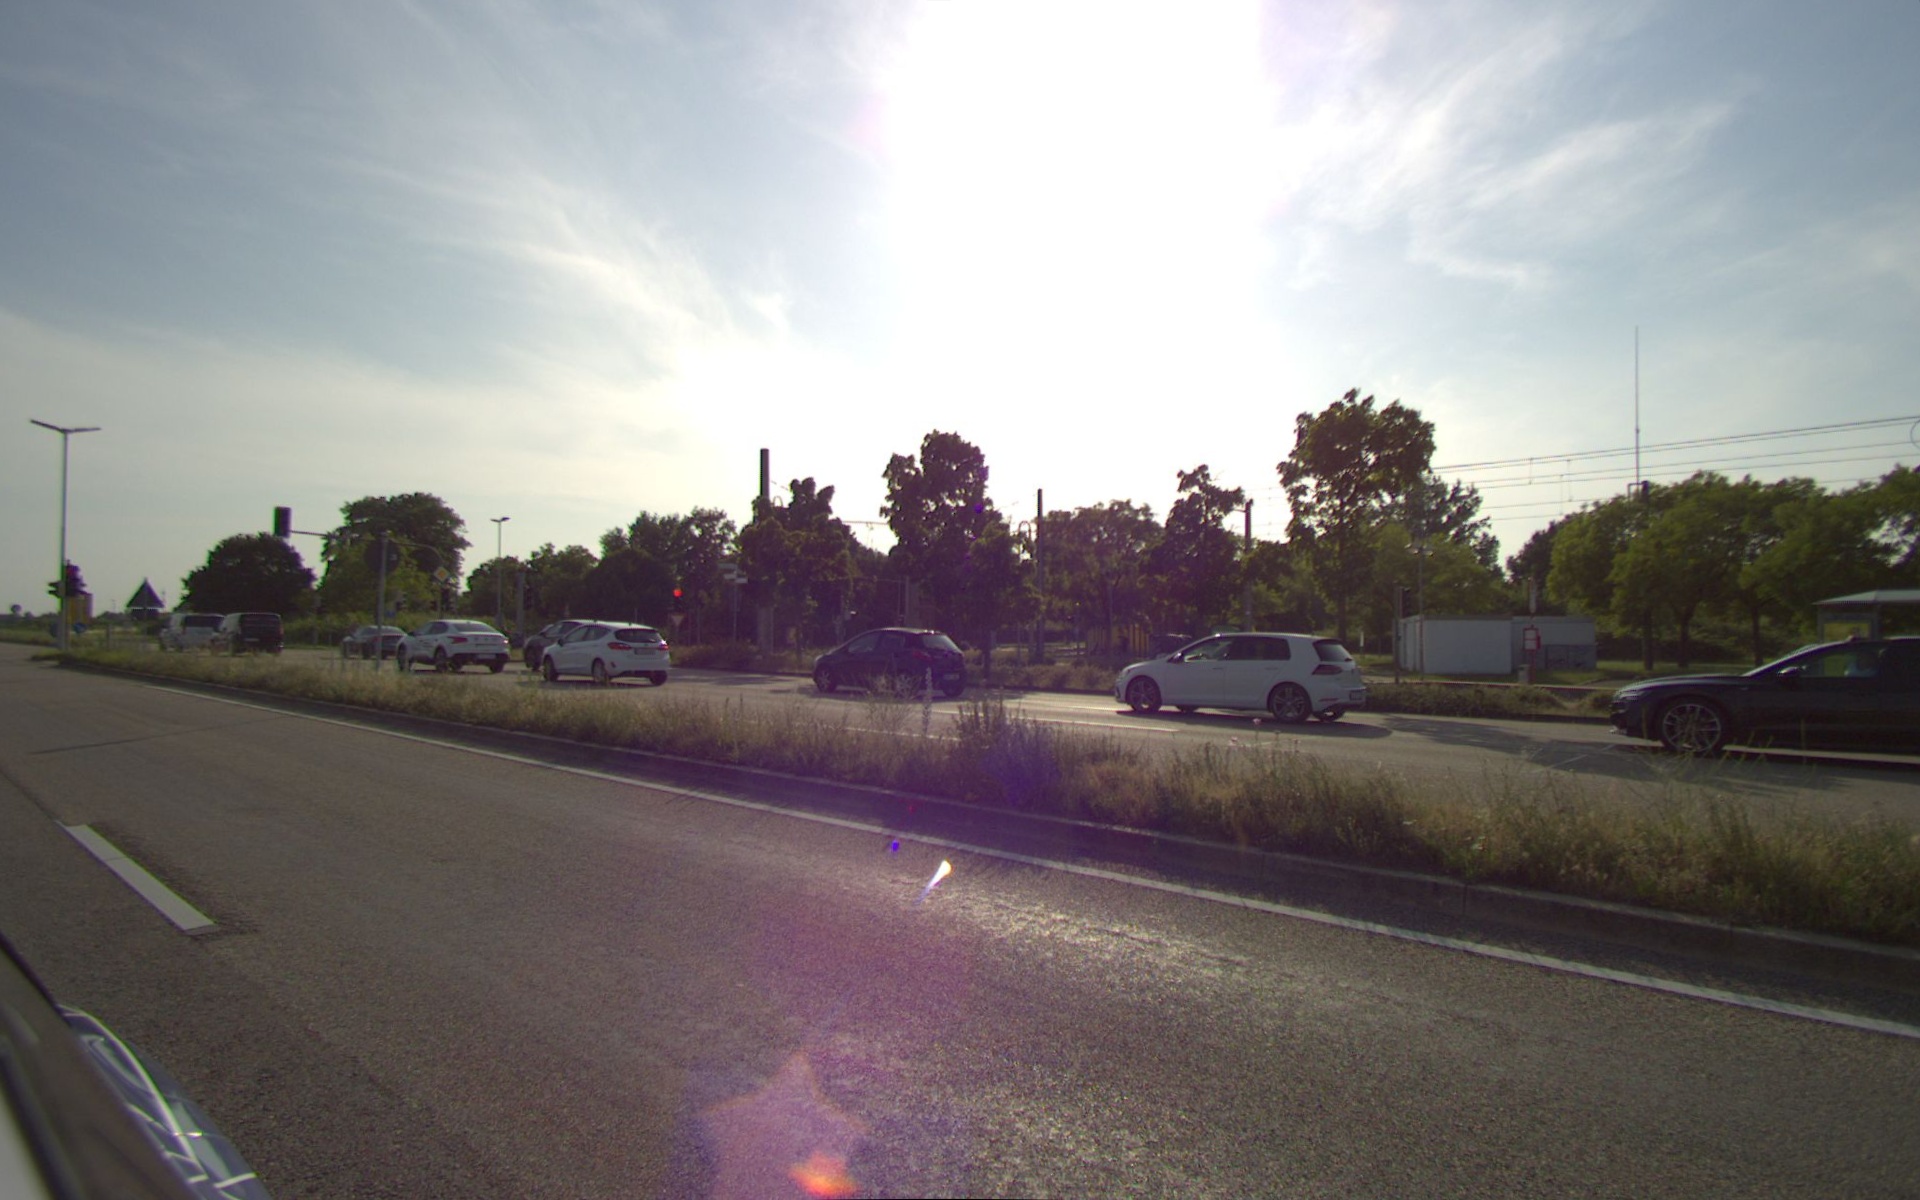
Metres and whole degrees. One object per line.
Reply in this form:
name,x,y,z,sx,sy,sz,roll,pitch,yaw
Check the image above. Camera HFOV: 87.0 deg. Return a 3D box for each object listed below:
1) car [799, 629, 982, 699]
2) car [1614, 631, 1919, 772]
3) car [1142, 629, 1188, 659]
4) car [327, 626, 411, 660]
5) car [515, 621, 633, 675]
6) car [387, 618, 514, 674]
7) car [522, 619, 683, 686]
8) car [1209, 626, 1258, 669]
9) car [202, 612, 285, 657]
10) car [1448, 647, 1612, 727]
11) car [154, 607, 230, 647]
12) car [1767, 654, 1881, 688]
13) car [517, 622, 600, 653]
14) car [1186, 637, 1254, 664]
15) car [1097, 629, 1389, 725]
car,-1.581,1.352,22.108,3.998,1.391,1.643,-1,-4,41
car,10.288,1.095,11.175,4.973,1.426,1.643,-1,-4,41
car,10.847,2.289,53.319,1.820,1.431,3.974,-1,0,20
car,-25.475,1.842,43.551,4.372,1.355,1.838,-1,-4,42
car,-12.177,1.489,31.816,3.998,1.602,1.778,-1,-4,41
car,-15.085,1.338,29.868,4.582,1.519,1.733,-1,-4,42
car,-8.730,1.245,24.546,4.292,1.481,1.799,-1,-4,42
car,13.414,2.277,49.487,1.822,1.892,3.648,-1,0,23
car,-30.362,1.455,42.823,4.527,1.759,1.838,-1,-4,42
car,13.809,2.034,24.463,3.934,1.564,2.005,-1,0,-36
car,-38.038,1.327,50.068,5.077,1.843,1.972,-1,-4,42
car,41.442,3.387,48.586,4.090,1.424,1.965,-1,0,-10
car,-27.108,2.475,68.517,2.250,1.901,4.787,-1,0,36
car,16.176,3.176,63.213,3.958,1.549,1.993,-1,0,12
car,4.640,1.226,17.016,4.466,1.391,1.643,-1,-4,41
